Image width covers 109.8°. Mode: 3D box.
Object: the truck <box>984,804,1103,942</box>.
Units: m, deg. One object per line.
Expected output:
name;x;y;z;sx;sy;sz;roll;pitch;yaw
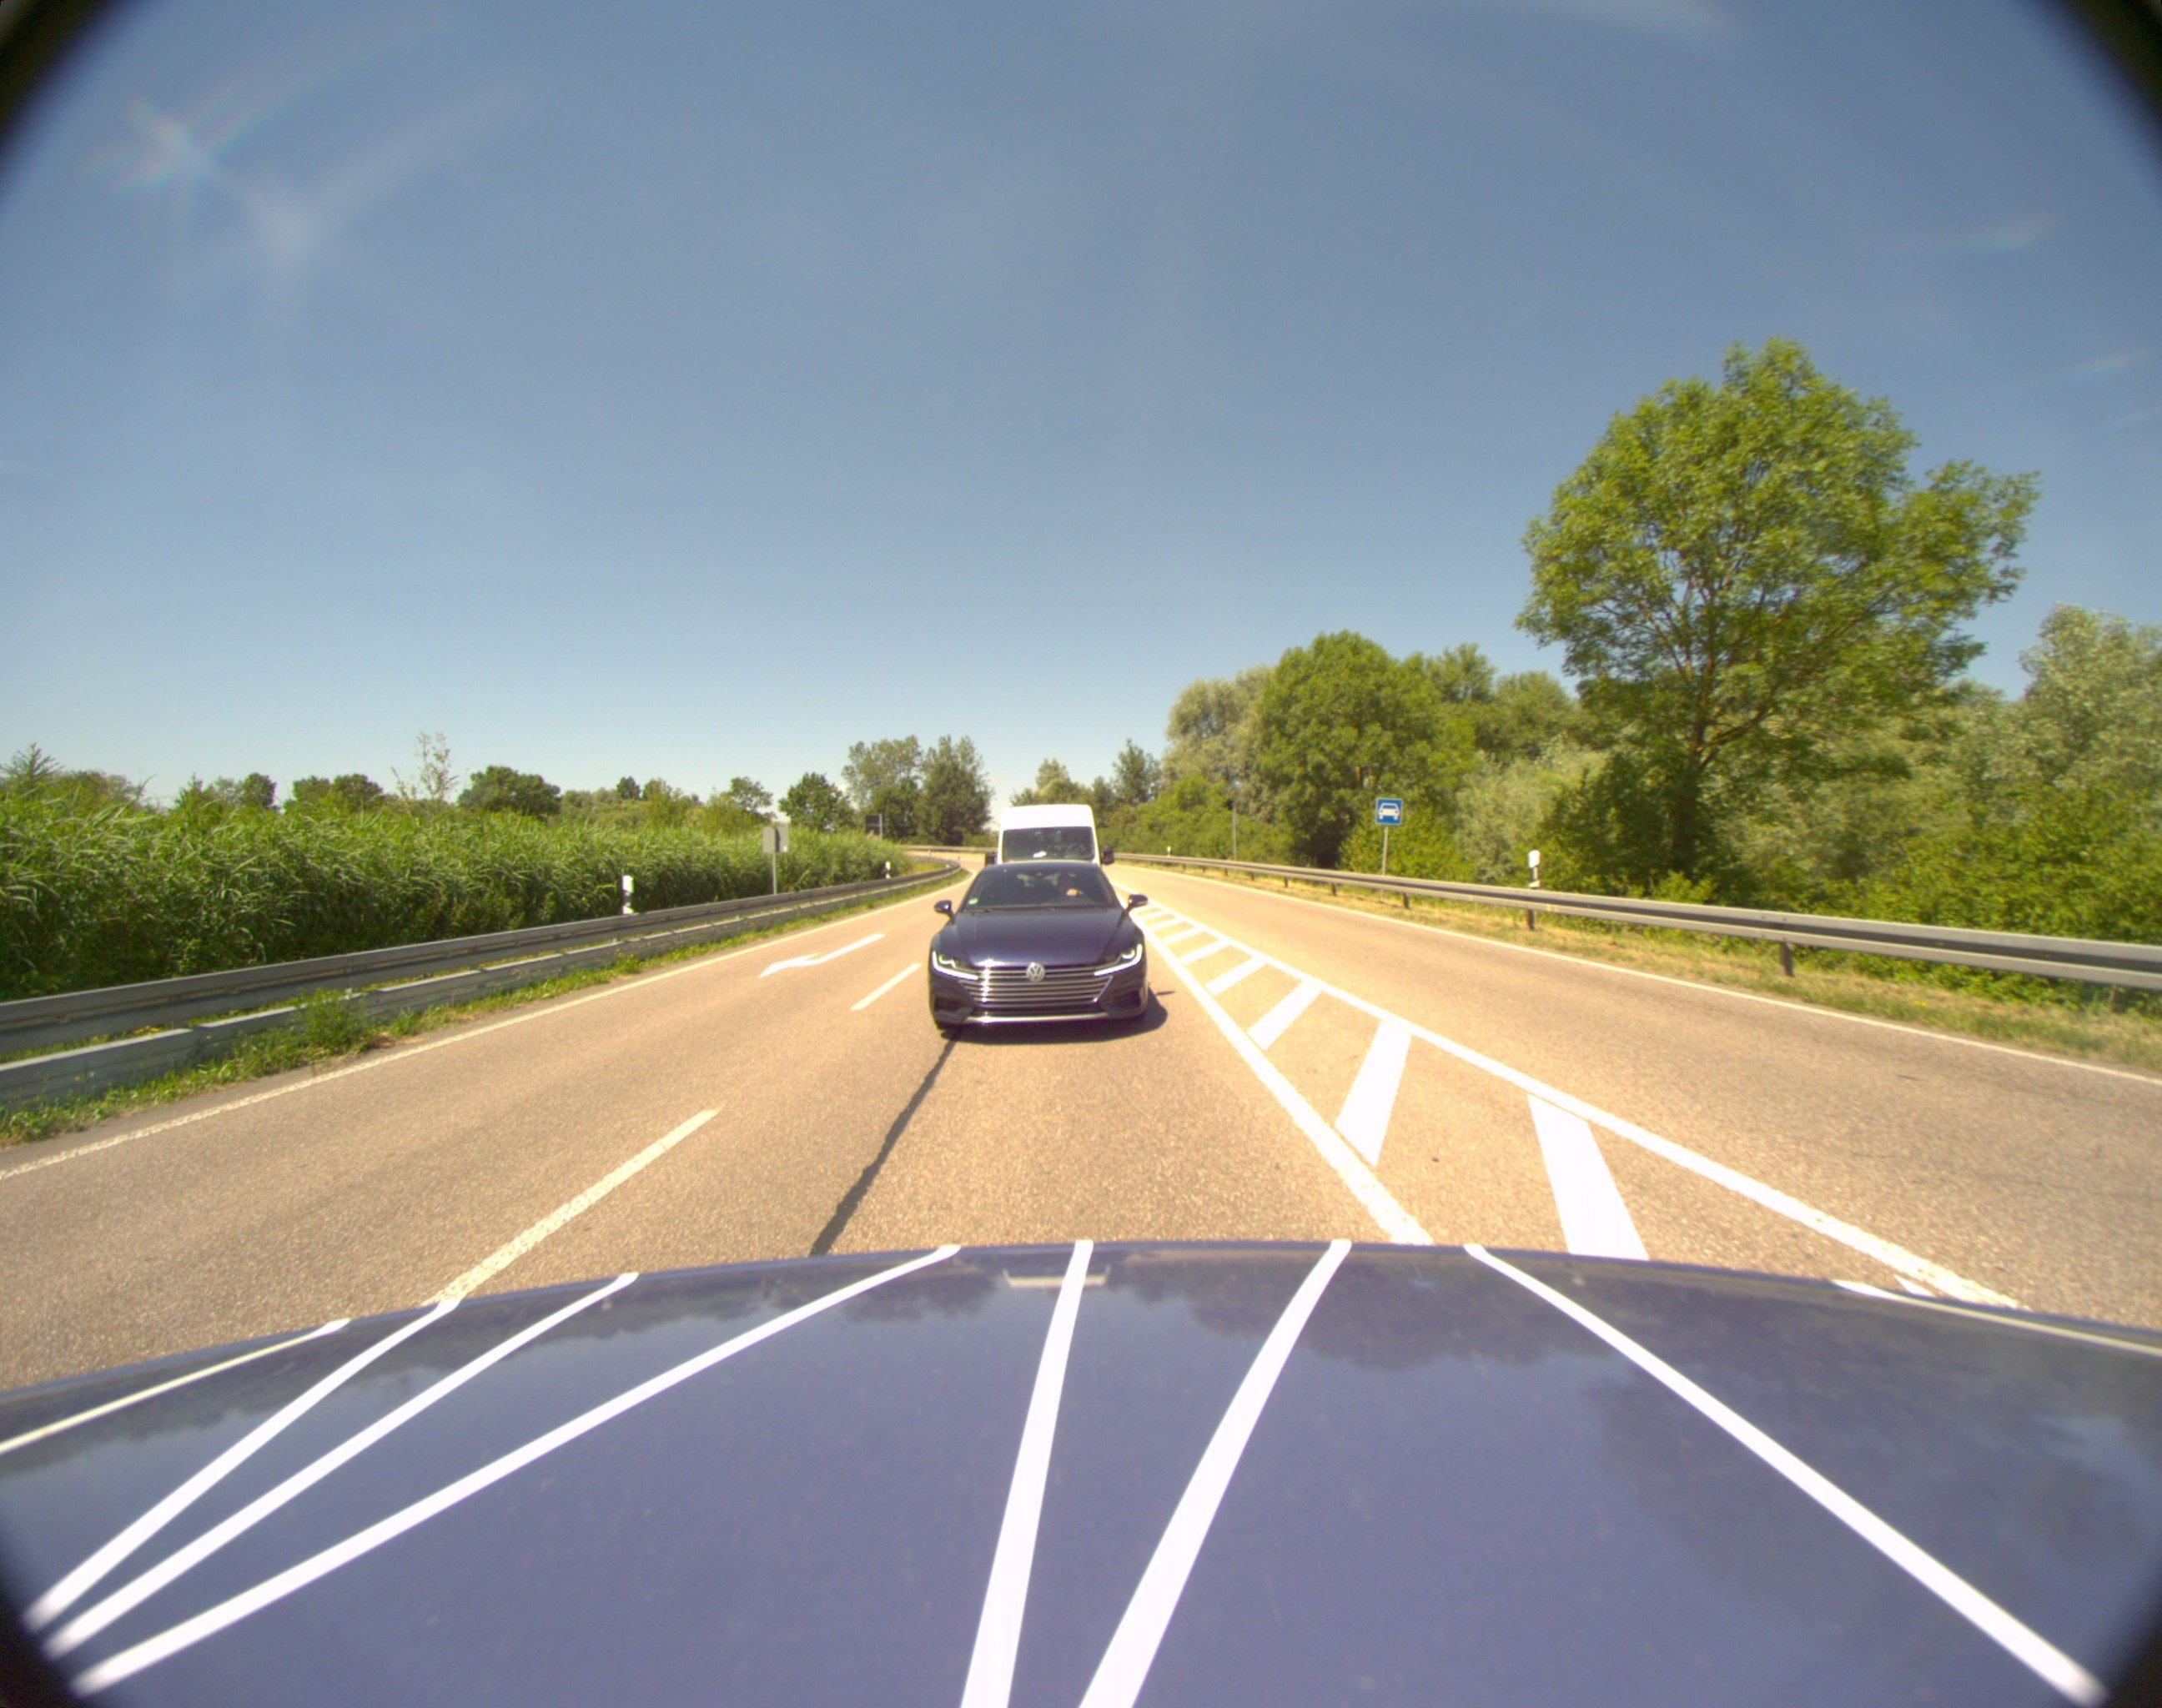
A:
truck;-0.830;0.307;16.275;2.011;2.365;5.909;-2;1;-4

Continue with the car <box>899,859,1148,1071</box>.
car;-0.397;0.848;7.873;1.819;1.454;4.415;-1;1;1
